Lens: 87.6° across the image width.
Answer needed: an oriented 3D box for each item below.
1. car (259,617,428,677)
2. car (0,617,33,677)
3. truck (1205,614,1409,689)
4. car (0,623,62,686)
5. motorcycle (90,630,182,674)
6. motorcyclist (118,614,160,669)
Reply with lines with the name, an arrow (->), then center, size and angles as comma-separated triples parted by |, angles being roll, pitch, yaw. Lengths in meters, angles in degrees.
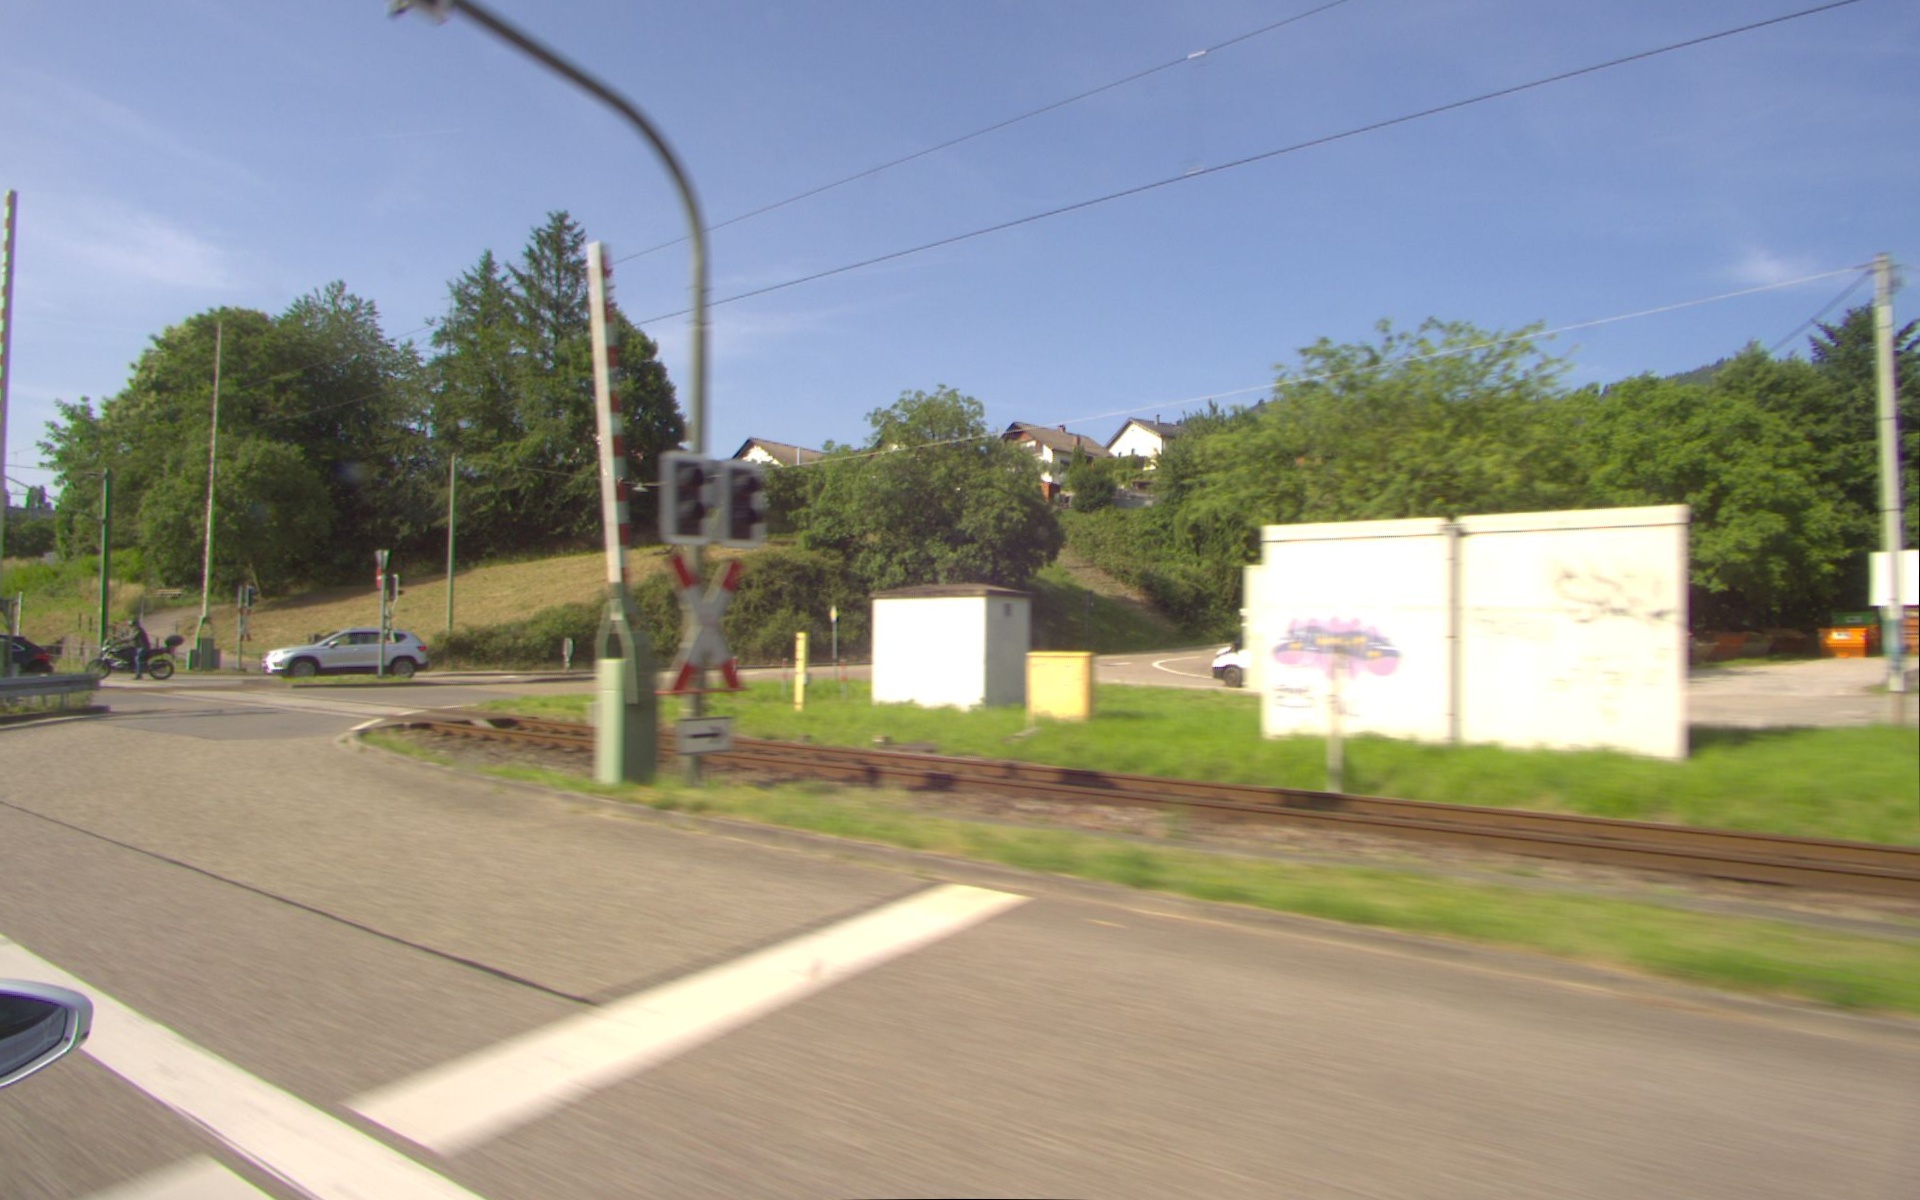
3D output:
car -> -18.750, 1.459, 30.553 | 4.088, 1.708, 1.817 | 4, -3, -44
car -> -28.862, 1.303, 27.680 | 4.693, 1.681, 1.913 | 1, -2, -42
truck -> 11.331, 1.661, 32.964 | 5.865, 2.261, 2.391 | -2, -2, 38
car -> -24.253, 1.287, 23.314 | 1.817, 1.489, 4.712 | -1, -1, 36
motorcycle -> -24.680, 1.555, 30.044 | 2.077, 1.270, 0.793 | 3, -3, -39
motorcyclist -> -24.651, 1.261, 30.083 | 0.900, 1.617, 0.759 | 3, -2, -40
